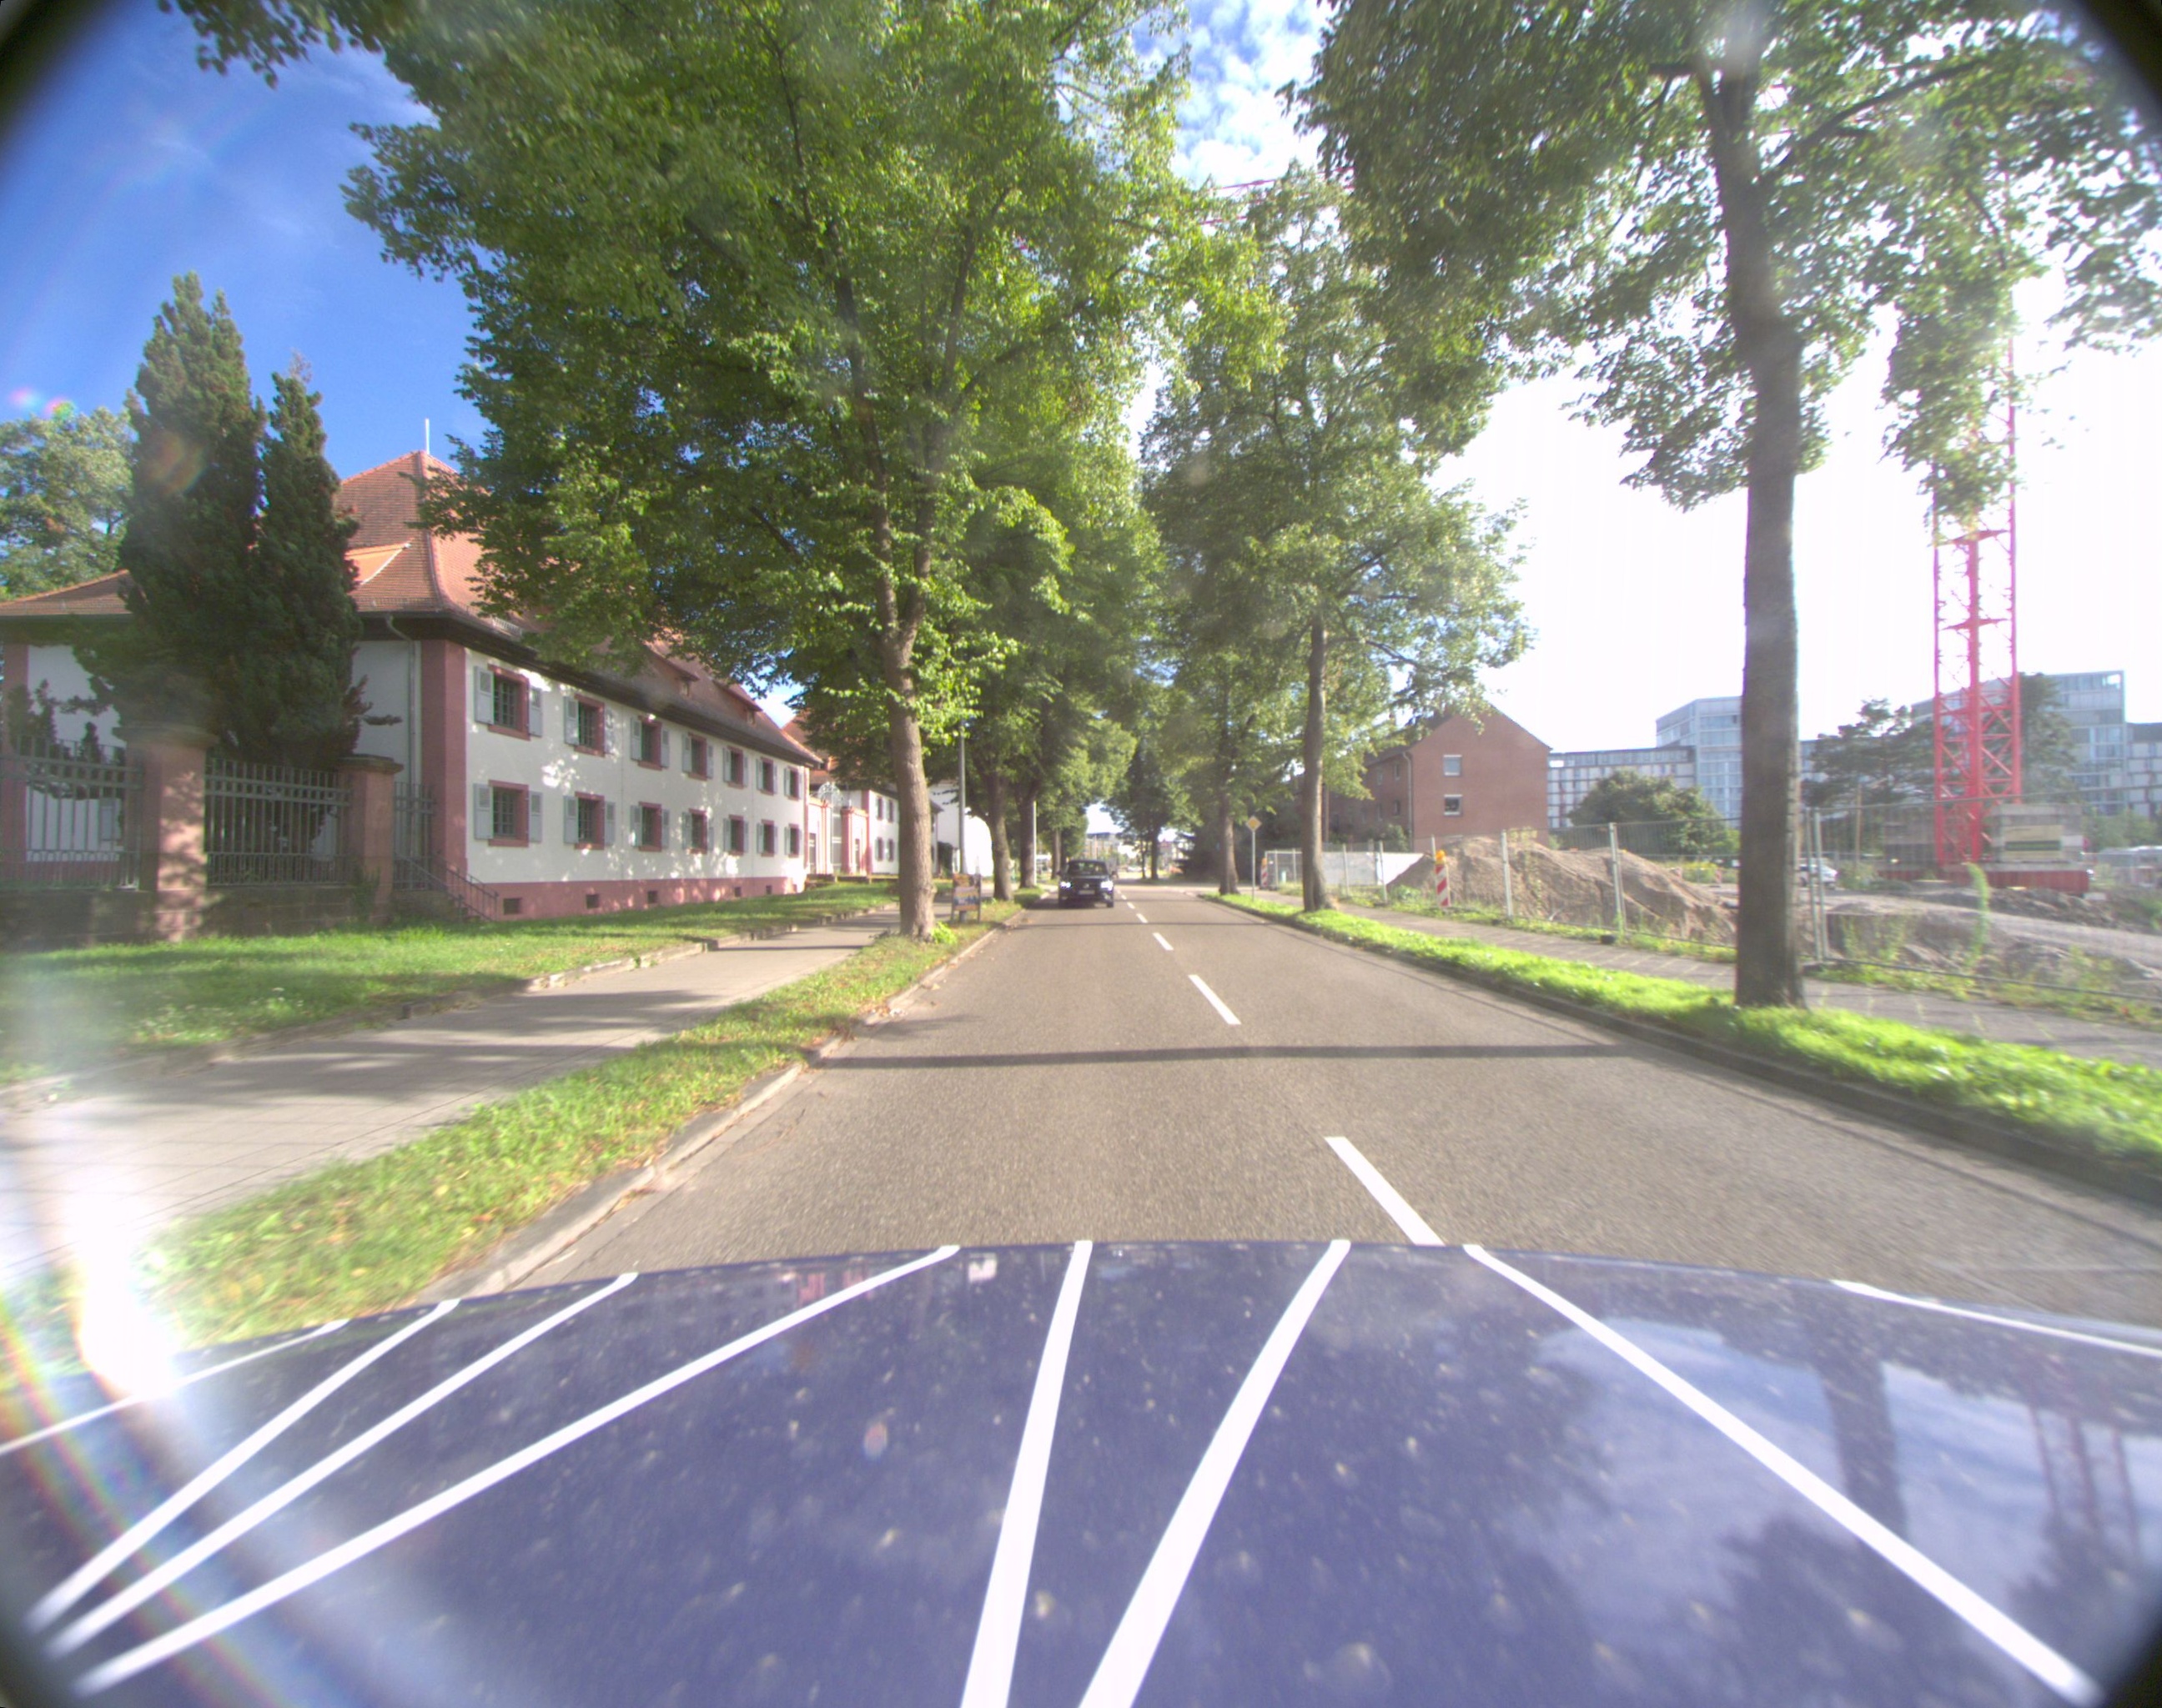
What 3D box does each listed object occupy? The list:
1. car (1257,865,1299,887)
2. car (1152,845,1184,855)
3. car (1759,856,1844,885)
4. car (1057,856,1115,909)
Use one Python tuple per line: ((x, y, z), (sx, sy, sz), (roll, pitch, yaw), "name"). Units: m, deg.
((13.990, 1.534, 54.138), (1.998, 1.420, 4.508), (0, 1, 3), "car")
((17.336, -0.773, 151.556), (2.483, 1.856, 6.235), (-1, 0, -42), "car")
((48.562, 1.085, 51.311), (1.817, 1.797, 3.982), (-1, 1, -4), "car")
((0.252, 0.944, 26.257), (1.821, 1.648, 4.244), (-2, -1, 2), "car")
